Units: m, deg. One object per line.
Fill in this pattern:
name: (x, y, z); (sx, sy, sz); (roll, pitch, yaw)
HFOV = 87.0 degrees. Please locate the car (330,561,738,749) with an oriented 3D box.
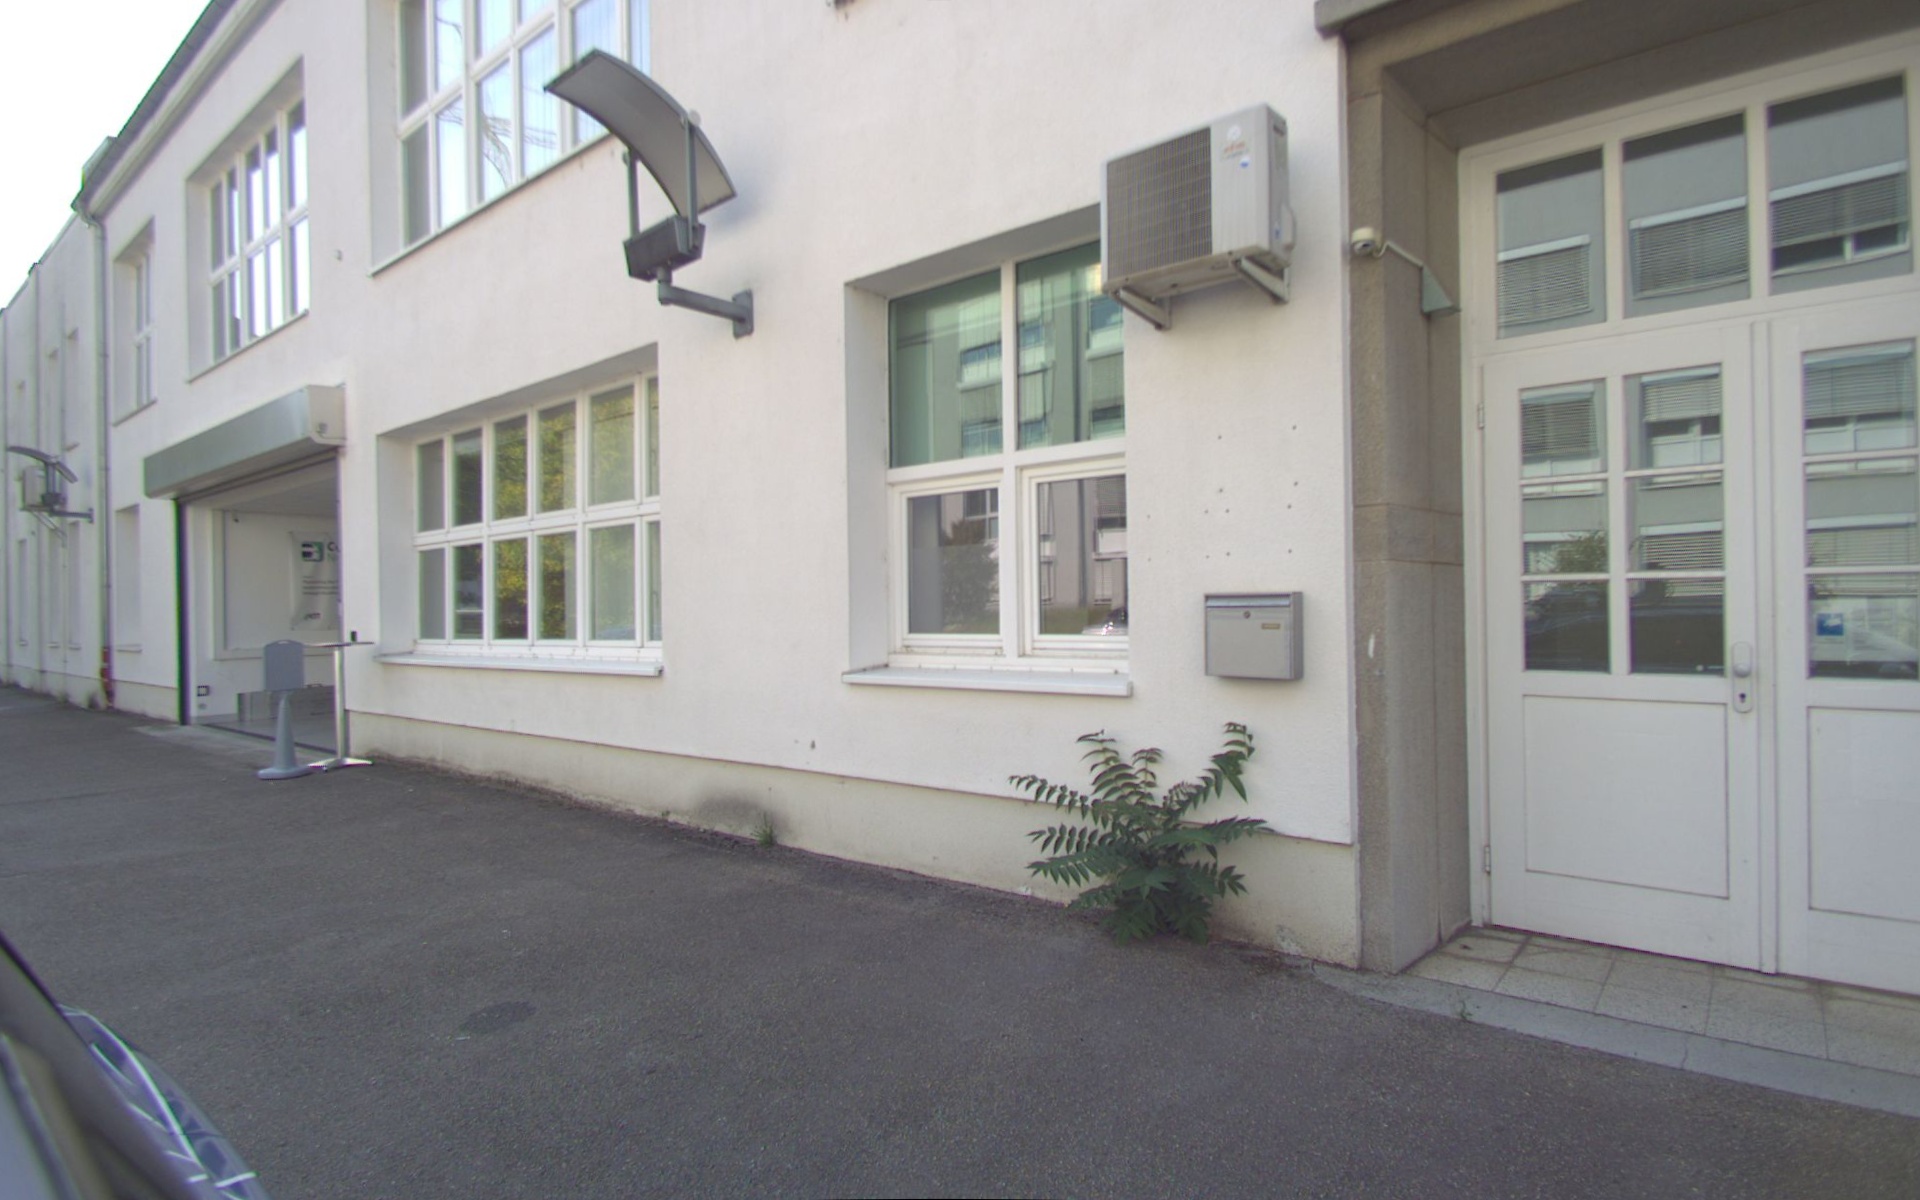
car: (-5.586, 0.591, 13.818); (2.054, 2.108, 4.699); (-1, 0, 40)
